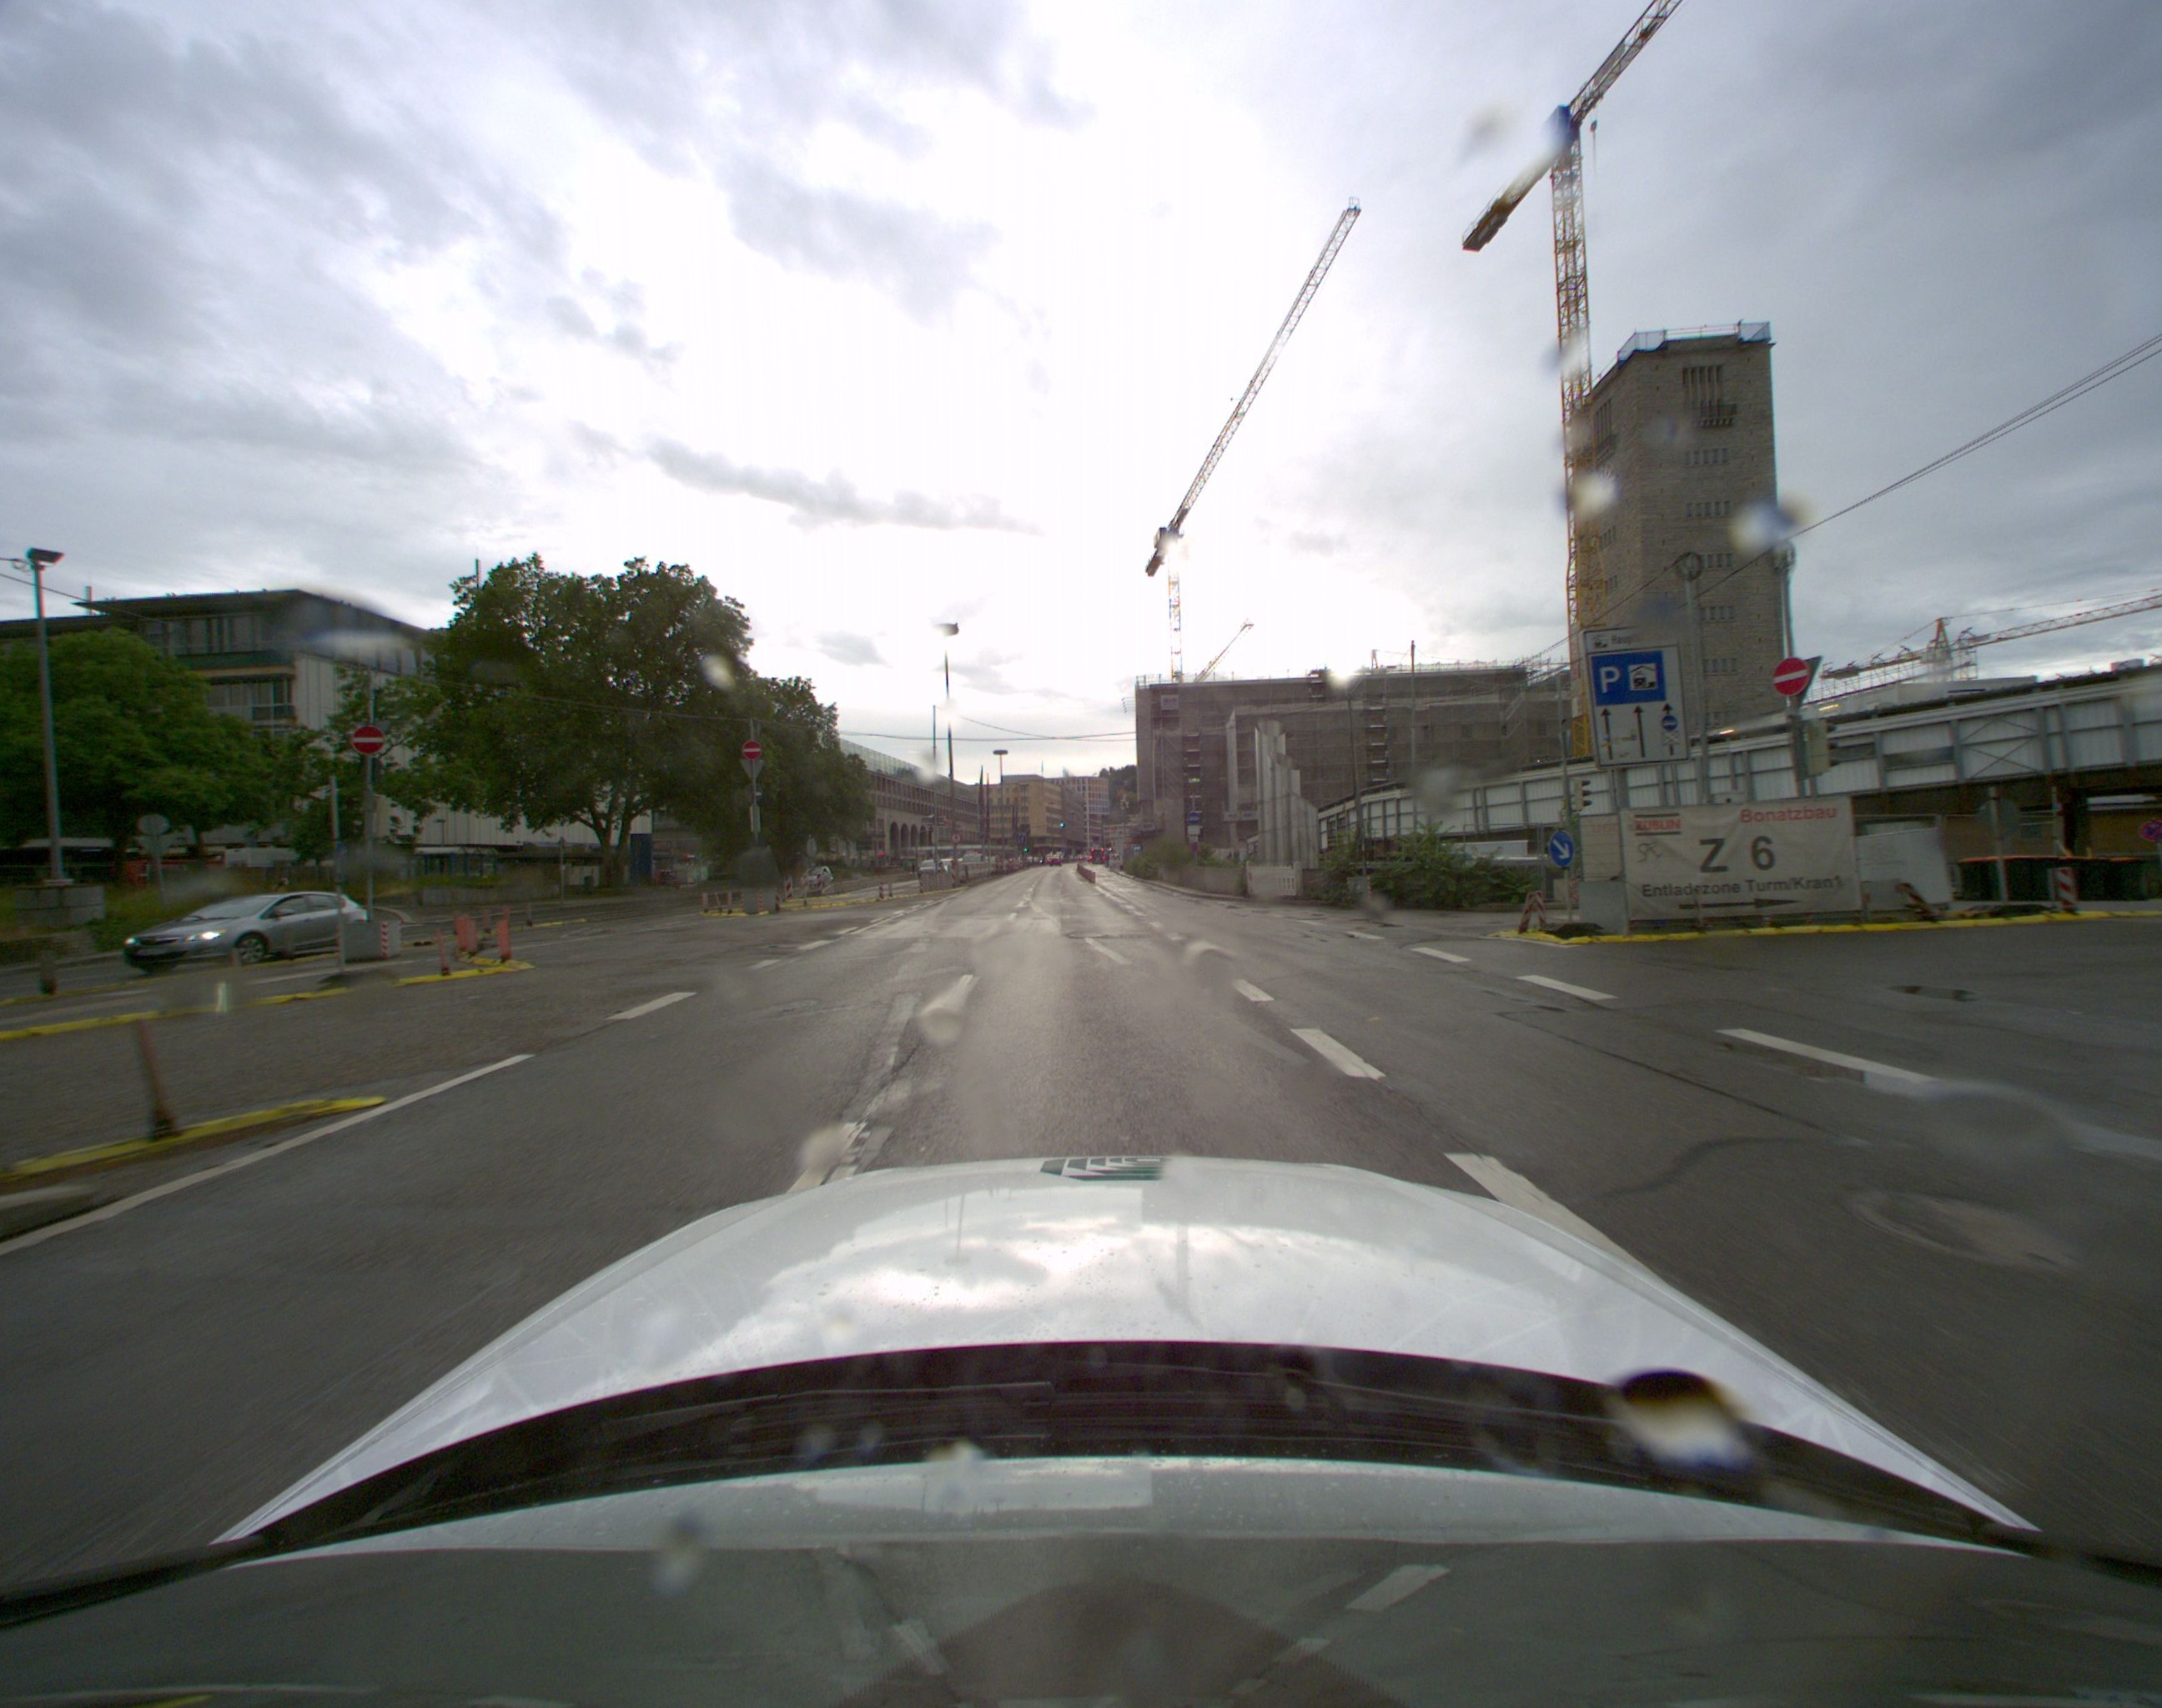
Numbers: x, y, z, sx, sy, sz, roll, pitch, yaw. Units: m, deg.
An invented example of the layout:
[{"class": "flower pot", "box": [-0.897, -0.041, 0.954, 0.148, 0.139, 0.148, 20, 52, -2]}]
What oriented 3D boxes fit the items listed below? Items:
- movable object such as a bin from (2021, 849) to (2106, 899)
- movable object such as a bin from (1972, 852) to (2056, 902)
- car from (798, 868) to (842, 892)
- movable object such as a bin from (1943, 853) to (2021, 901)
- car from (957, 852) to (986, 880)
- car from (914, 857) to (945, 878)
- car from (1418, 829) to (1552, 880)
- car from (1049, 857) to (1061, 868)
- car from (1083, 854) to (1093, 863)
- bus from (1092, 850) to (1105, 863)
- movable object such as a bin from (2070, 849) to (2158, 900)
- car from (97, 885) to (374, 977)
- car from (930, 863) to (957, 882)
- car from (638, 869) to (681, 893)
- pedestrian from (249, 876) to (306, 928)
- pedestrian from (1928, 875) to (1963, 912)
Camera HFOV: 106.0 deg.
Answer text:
[{"class": "movable object such as a bin", "box": [23.359, 0.478, 19.382, 0.985, 1.102, 0.731, -4, -3, 7]}, {"class": "movable object such as a bin", "box": [22.247, 0.563, 19.435, 0.985, 1.102, 0.749, -4, -3, 7]}, {"class": "car", "box": [-18.444, 1.871, 57.660, 1.898, 1.528, 4.171, -4, -3, -3]}, {"class": "movable object such as a bin", "box": [22.351, 0.578, 20.214, 0.985, 1.102, 0.731, -4, -3, 7]}, {"class": "car", "box": [-9.133, 1.074, 68.190, 1.898, 2.083, 4.171, -4, -3, -3]}, {"class": "car", "box": [-12.554, 1.164, 67.784, 1.898, 1.528, 4.171, -4, -3, -3]}, {"class": "car", "box": [17.913, 0.027, 36.253, 2.368, 2.132, 4.818, -2, 1, -43]}, {"class": "car", "box": [-4.258, 1.452, 132.914, 1.898, 1.528, 4.171, -4, -3, -3]}, {"class": "car", "box": [1.670, 1.047, 190.873, 1.984, 2.014, 4.006, -4, -3, 6]}, {"class": "bus", "box": [3.482, 0.535, 161.602, 1.984, 2.431, 4.004, -4, -3, 5]}, {"class": "movable object such as a bin", "box": [24.383, 0.491, 19.246, 0.985, 1.102, 0.731, -4, -3, 7]}, {"class": "car", "box": [-17.658, 1.519, 17.363, 1.764, 1.463, 4.166, -5, 0, -7]}, {"class": "car", "box": [-12.412, 1.708, 73.648, 1.898, 1.528, 4.171, -4, -3, -3]}, {"class": "car", "box": [-31.881, 2.075, 61.580, 1.919, 1.528, 3.956, -2, -3, -42]}, {"class": "pedestrian", "box": [-25.365, 1.495, 25.731, 0.582, 1.557, 1.118, -5, -3, 16]}, {"class": "pedestrian", "box": [32.313, 1.481, 30.458, 0.697, 1.338, 0.776, -1, -4, -45]}]
